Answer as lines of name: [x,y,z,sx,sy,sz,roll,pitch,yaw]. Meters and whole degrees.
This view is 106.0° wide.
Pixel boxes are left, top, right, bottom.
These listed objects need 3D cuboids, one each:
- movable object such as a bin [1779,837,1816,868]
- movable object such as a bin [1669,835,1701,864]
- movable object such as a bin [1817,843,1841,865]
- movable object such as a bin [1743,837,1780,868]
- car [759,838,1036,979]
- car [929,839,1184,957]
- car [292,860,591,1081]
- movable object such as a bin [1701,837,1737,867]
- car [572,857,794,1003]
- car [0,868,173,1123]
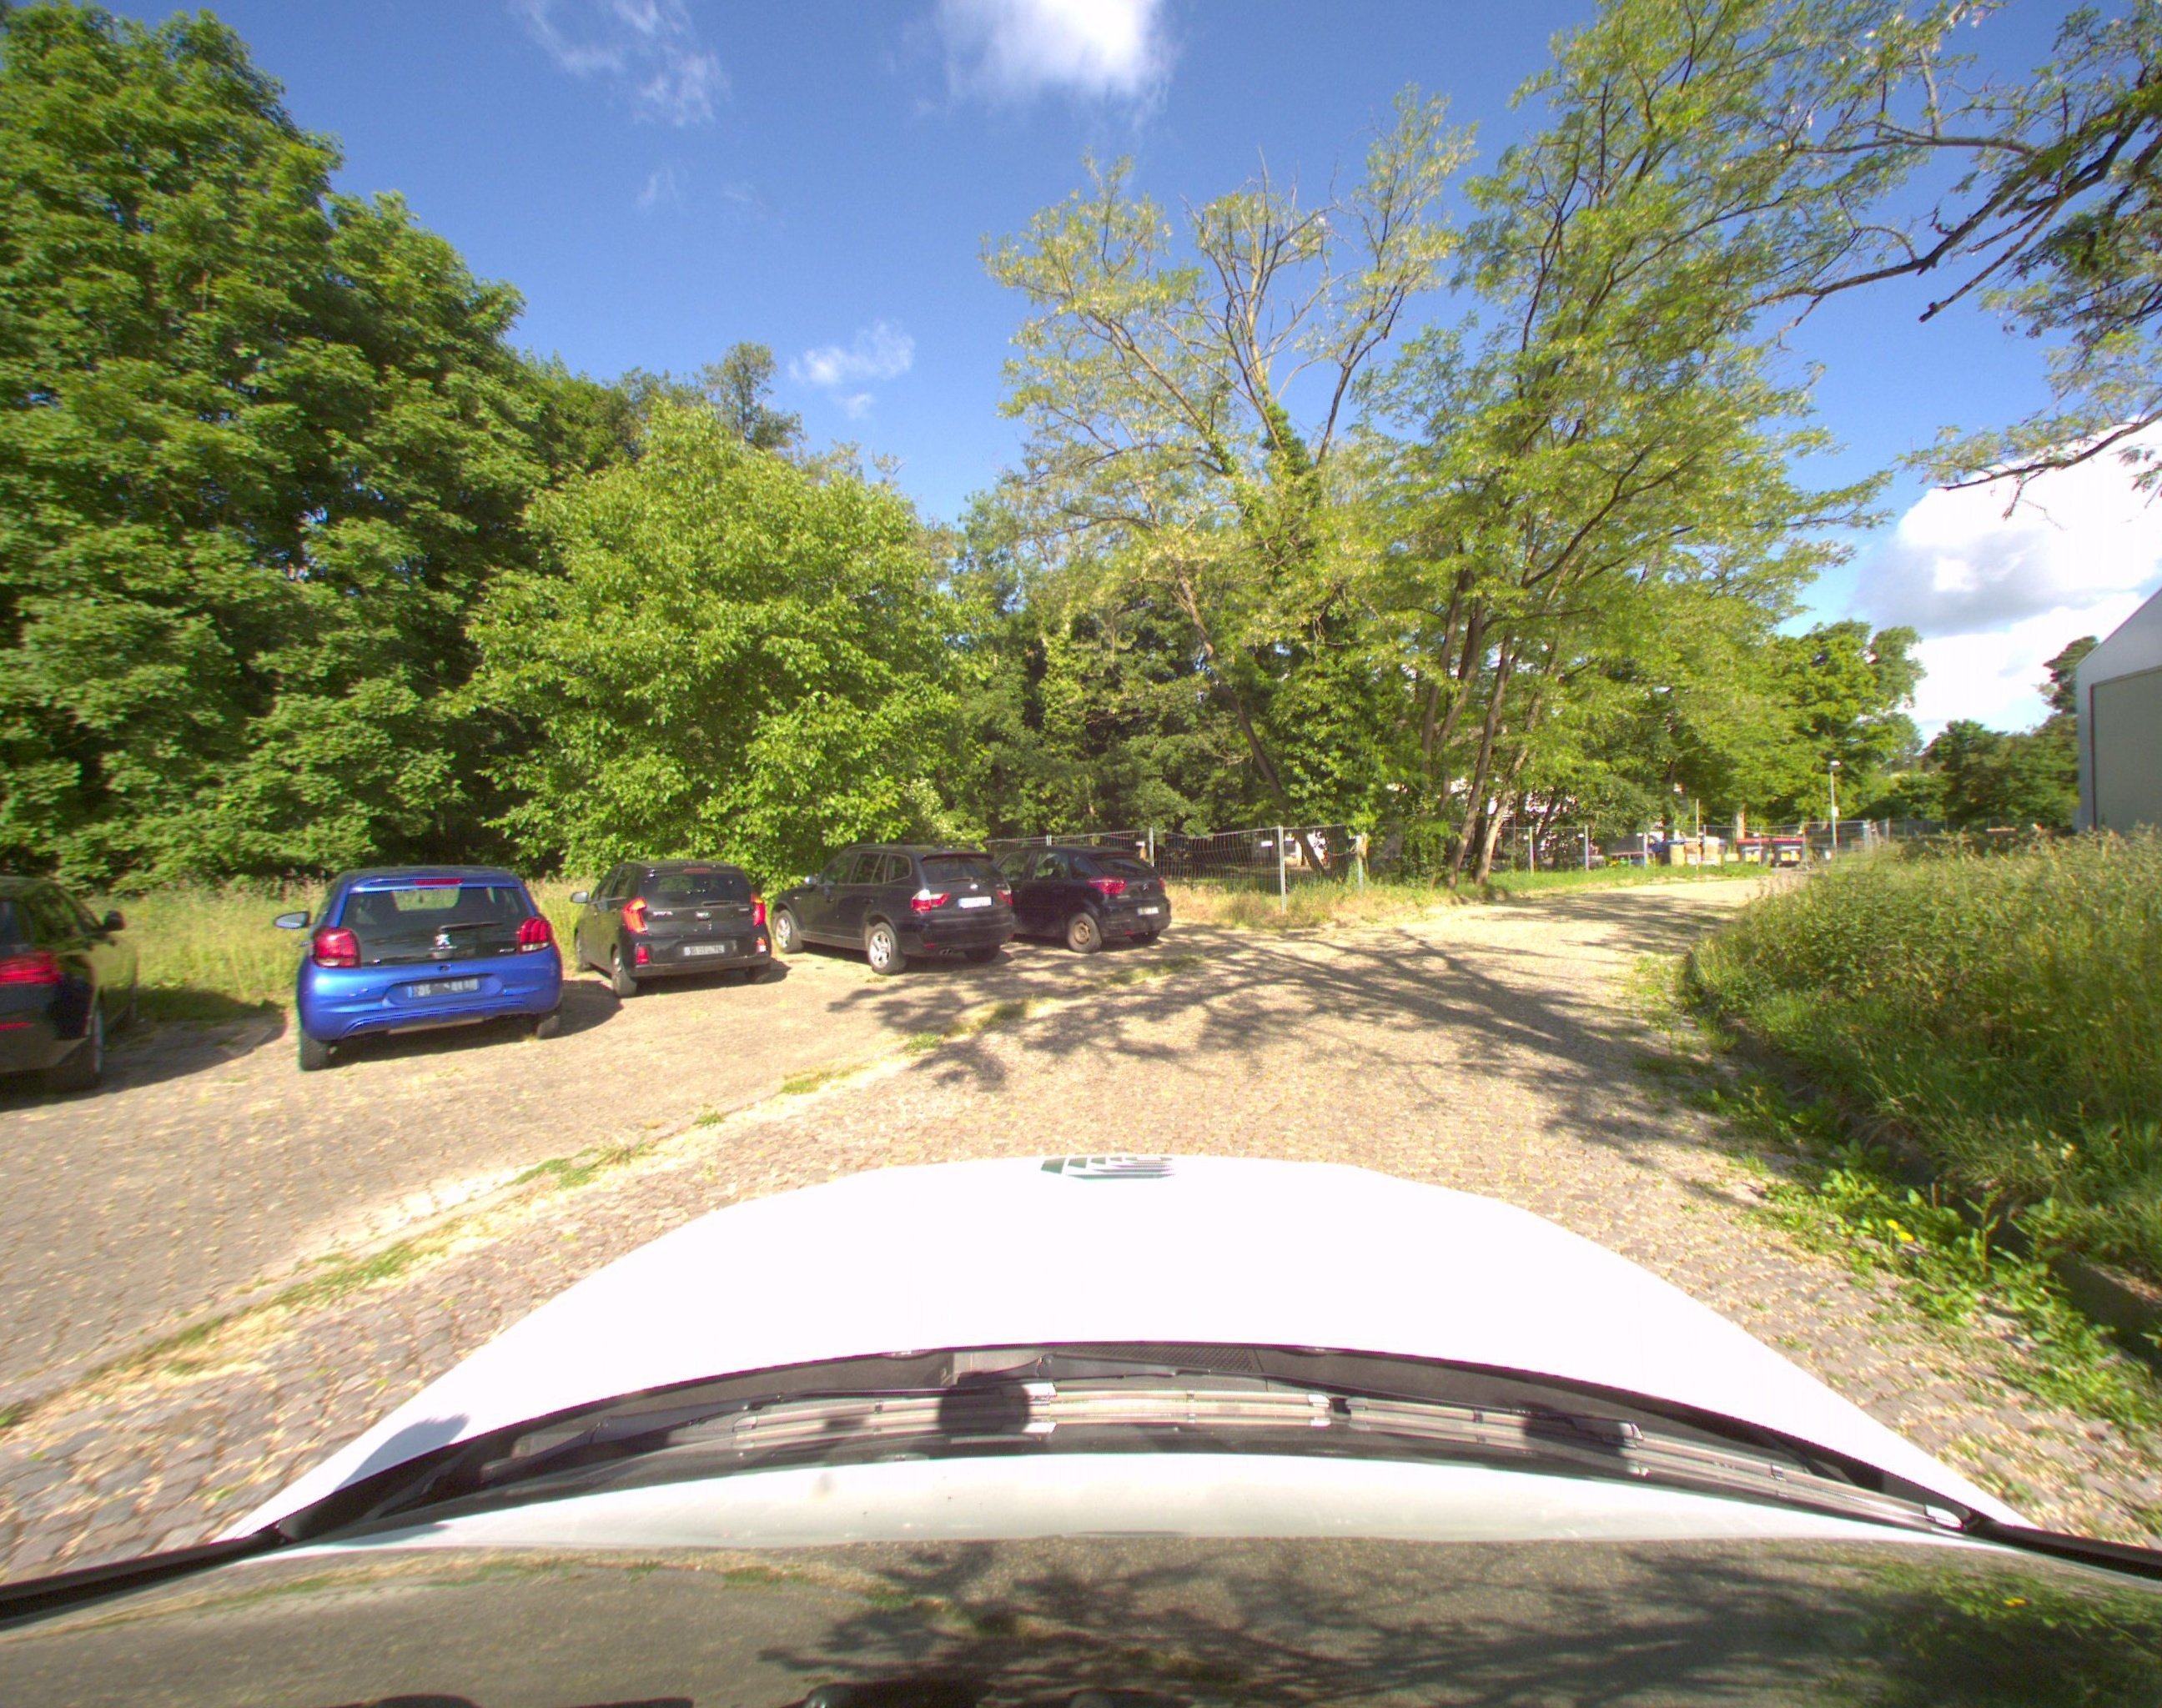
movable object such as a bin: [33.906,-0.065,38.548,1.275,1.426,1.039,-2,-1,41]
movable object such as a bin: [30.707,-0.206,41.407,1.062,1.438,1.074,-1,-1,-43]
movable object such as a bin: [34.546,0.012,37.636,0.607,1.007,0.637,-1,-1,-30]
movable object such as a bin: [32.934,-0.081,39.422,1.275,1.426,1.039,-2,-1,42]
car: [-2.805,0.623,11.867,4.220,1.631,1.892,2,2,43]
car: [-0.537,0.599,13.972,4.219,1.589,1.841,3,3,41]
car: [-6.036,0.807,7.543,1.796,1.458,3.743,0,0,-44]
movable object such as a bin: [31.784,-0.094,40.567,1.275,1.426,1.039,-2,-1,42]
car: [-5.149,0.778,10.286,1.753,1.451,3.682,0,0,-39]
car: [-7.874,0.837,5.626,1.906,1.411,3.743,0,0,-45]
